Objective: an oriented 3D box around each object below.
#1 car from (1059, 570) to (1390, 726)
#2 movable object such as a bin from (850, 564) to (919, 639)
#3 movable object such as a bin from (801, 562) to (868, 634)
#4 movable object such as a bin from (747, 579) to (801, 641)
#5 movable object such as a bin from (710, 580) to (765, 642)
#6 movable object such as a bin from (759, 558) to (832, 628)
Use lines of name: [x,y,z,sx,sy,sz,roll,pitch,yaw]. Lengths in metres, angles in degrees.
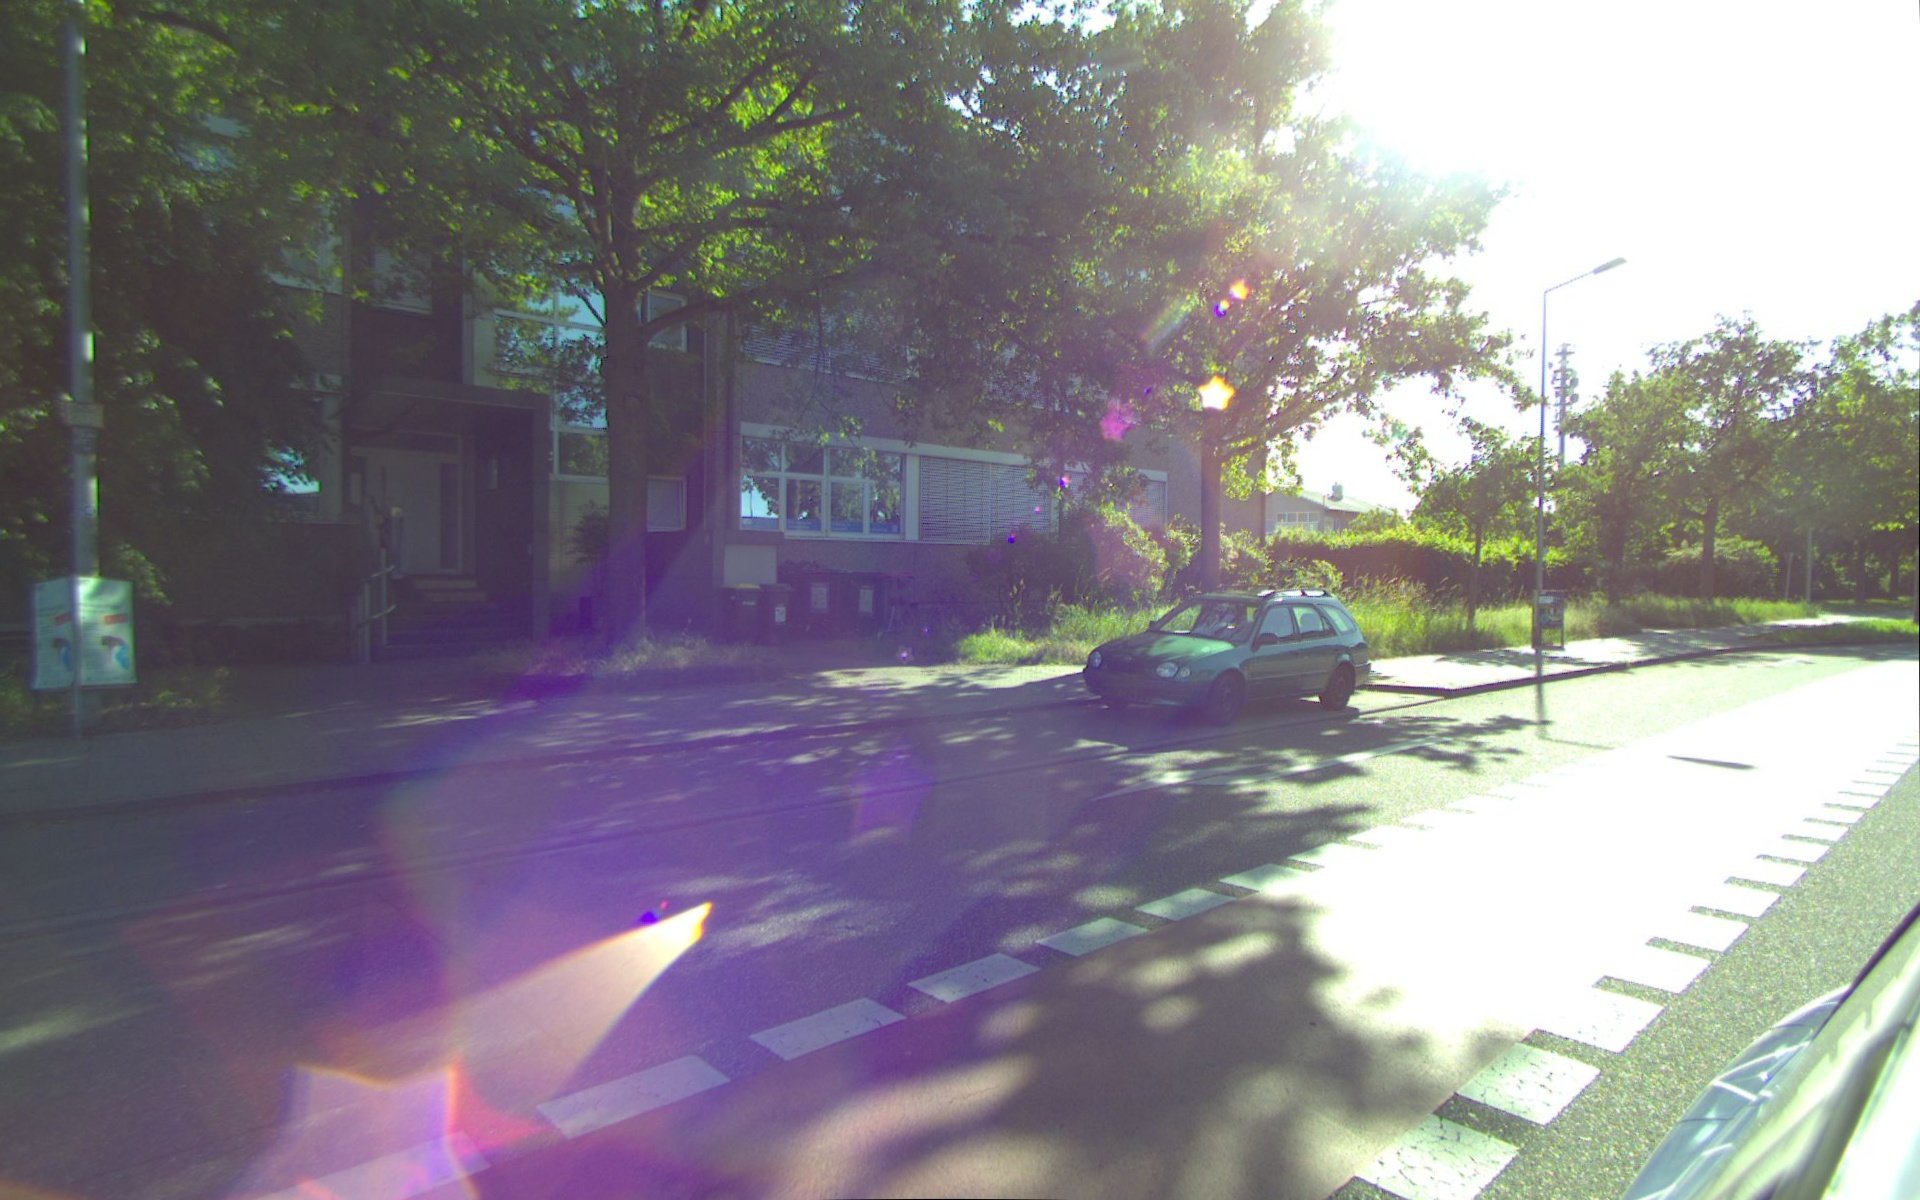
car: [3.281,0.437,12.159,4.141,1.504,1.776,-1,4,-41]
movable object such as a bin: [-1.395,0.000,18.686,0.782,1.338,1.089,-1,2,-40]
movable object such as a bin: [-2.470,-0.059,19.823,0.782,1.357,1.207,-1,2,-40]
movable object such as a bin: [-3.304,0.159,17.964,0.683,1.055,0.687,-1,2,-41]
movable object such as a bin: [-3.849,0.181,17.507,0.683,1.055,0.687,0,0,-41]
movable object such as a bin: [-3.402,-0.168,20.898,0.864,1.396,1.469,-1,2,-40]
